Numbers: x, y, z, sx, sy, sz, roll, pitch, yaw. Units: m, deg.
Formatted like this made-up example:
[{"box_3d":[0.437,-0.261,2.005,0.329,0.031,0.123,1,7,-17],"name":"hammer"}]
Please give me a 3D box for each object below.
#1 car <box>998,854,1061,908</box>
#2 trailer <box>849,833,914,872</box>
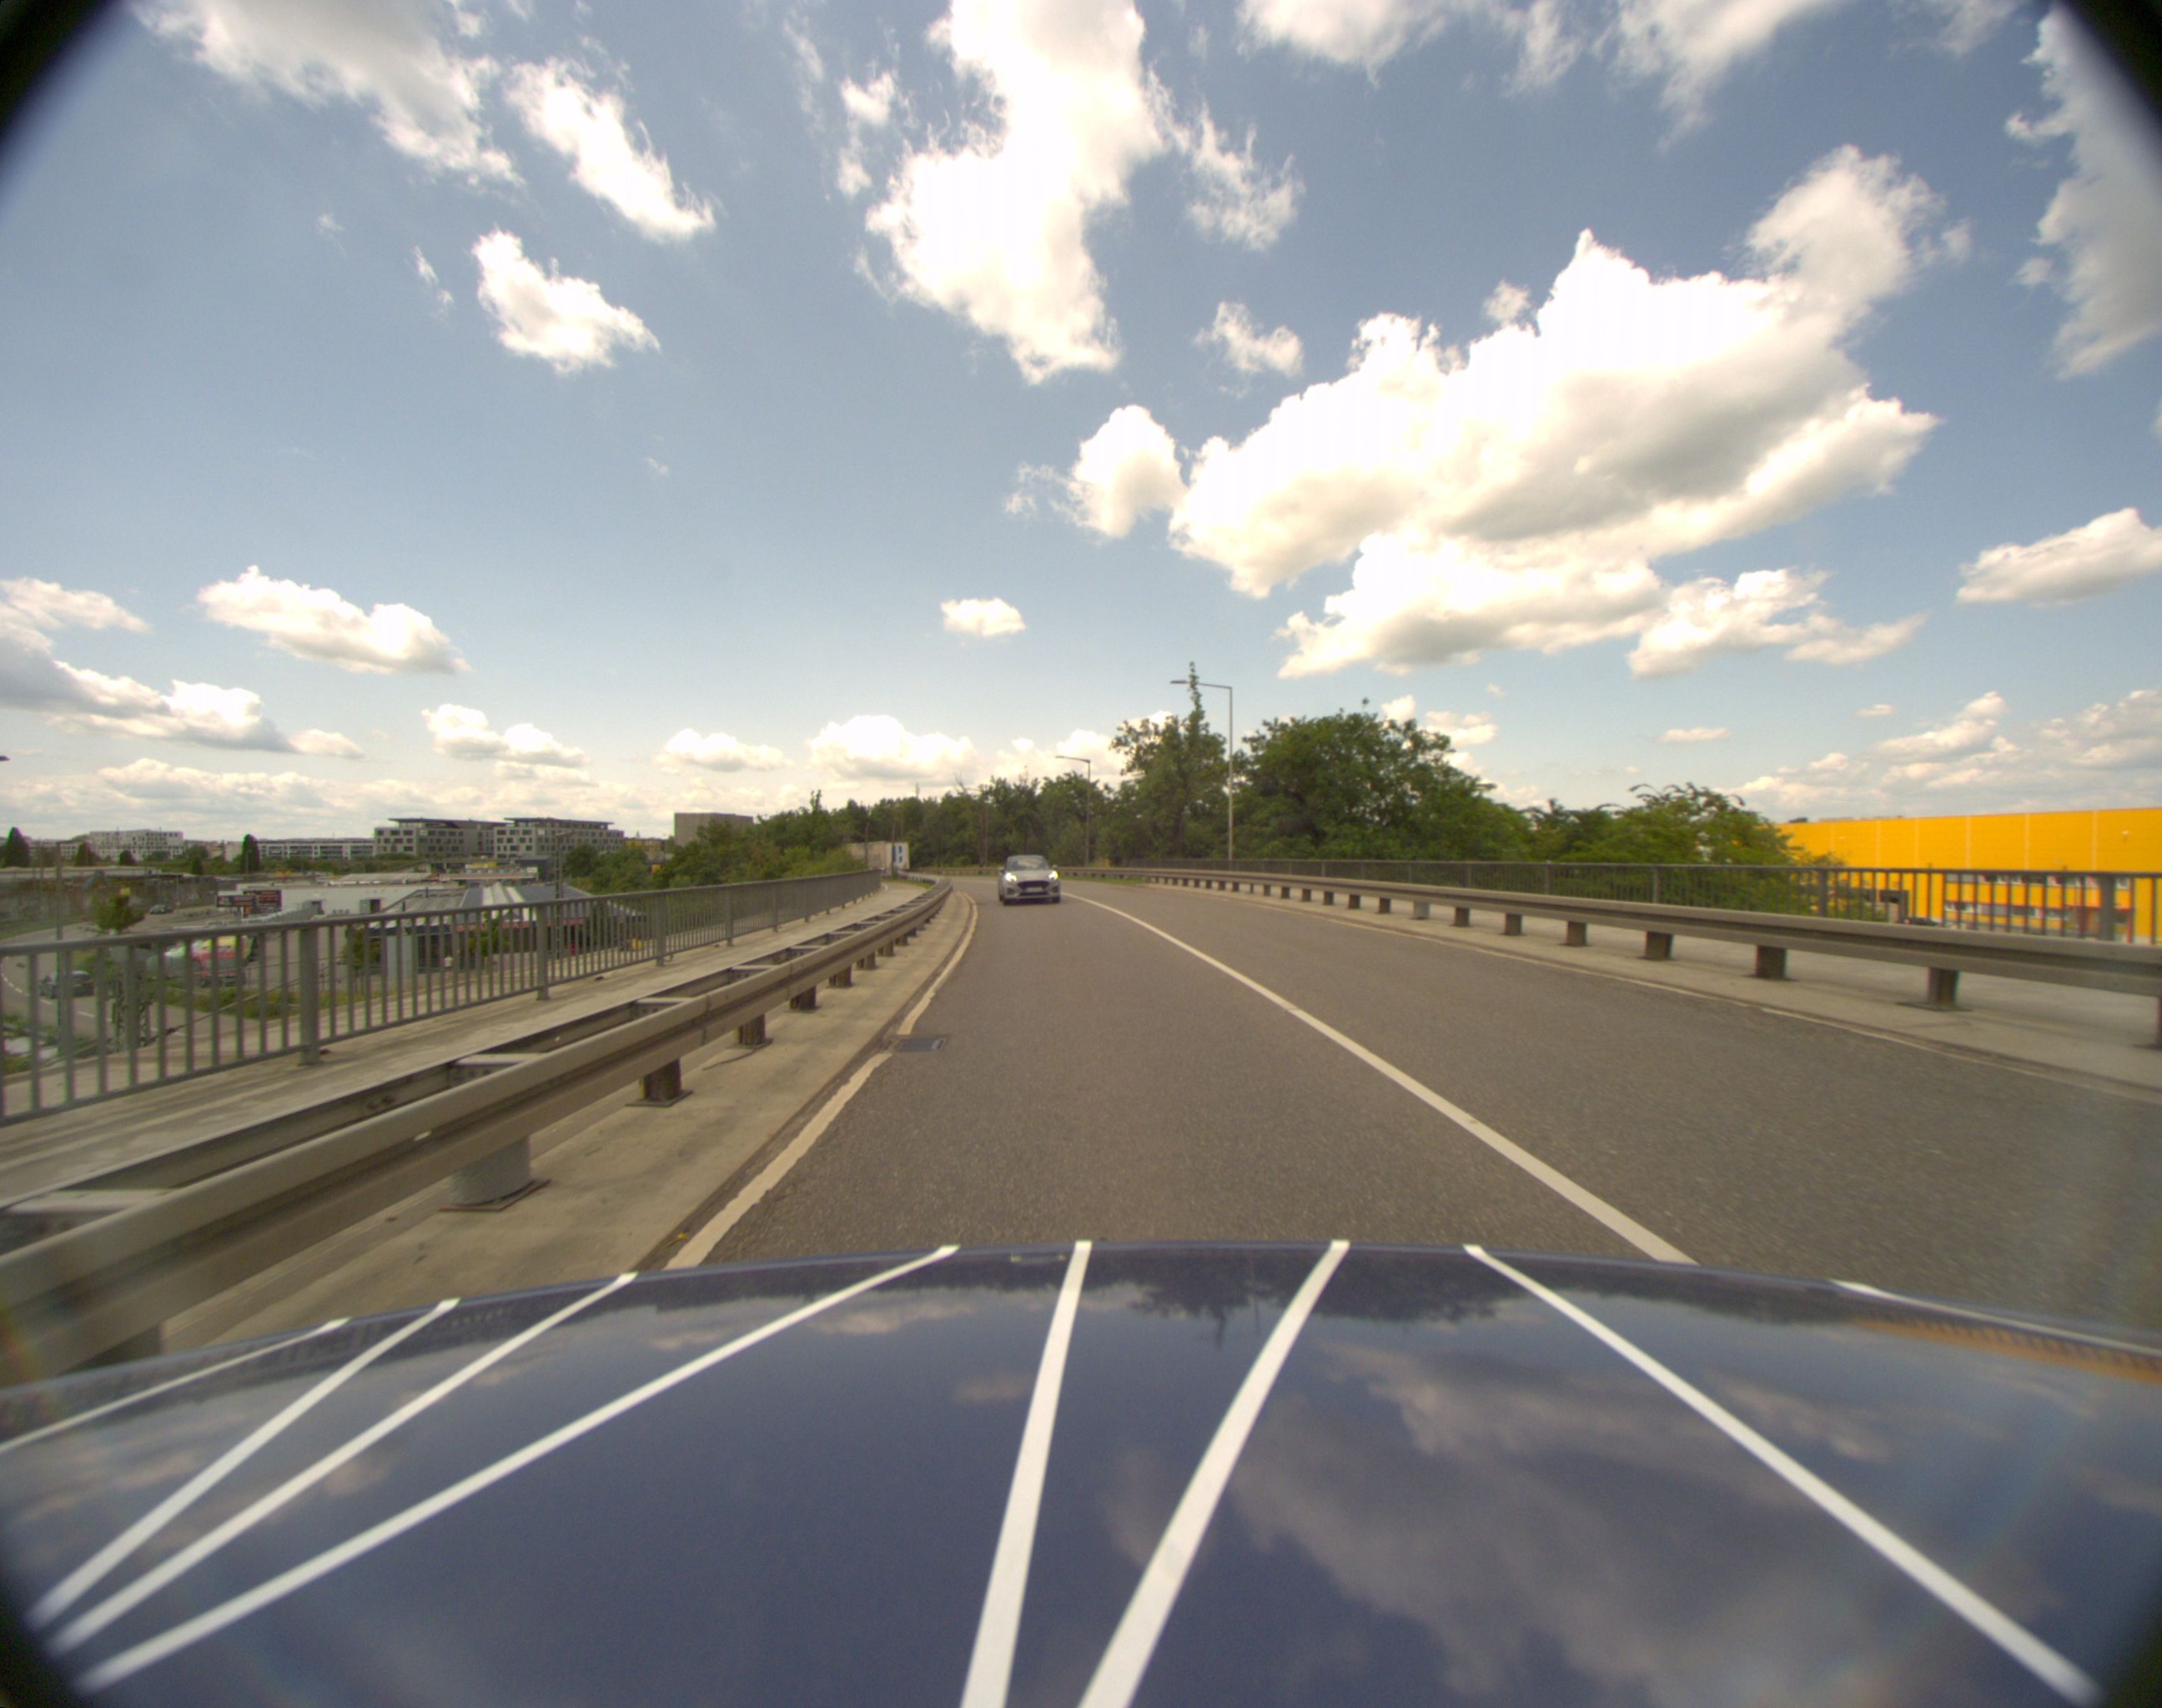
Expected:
[{"box_3d":[-1.717,0.809,25.170,1.828,1.516,3.998,-3,1,-4],"name":"car"},{"box_3d":[-23.671,-0.063,89.407,2.719,4.255,14.196,-3,1,-34],"name":"trailer"}]
